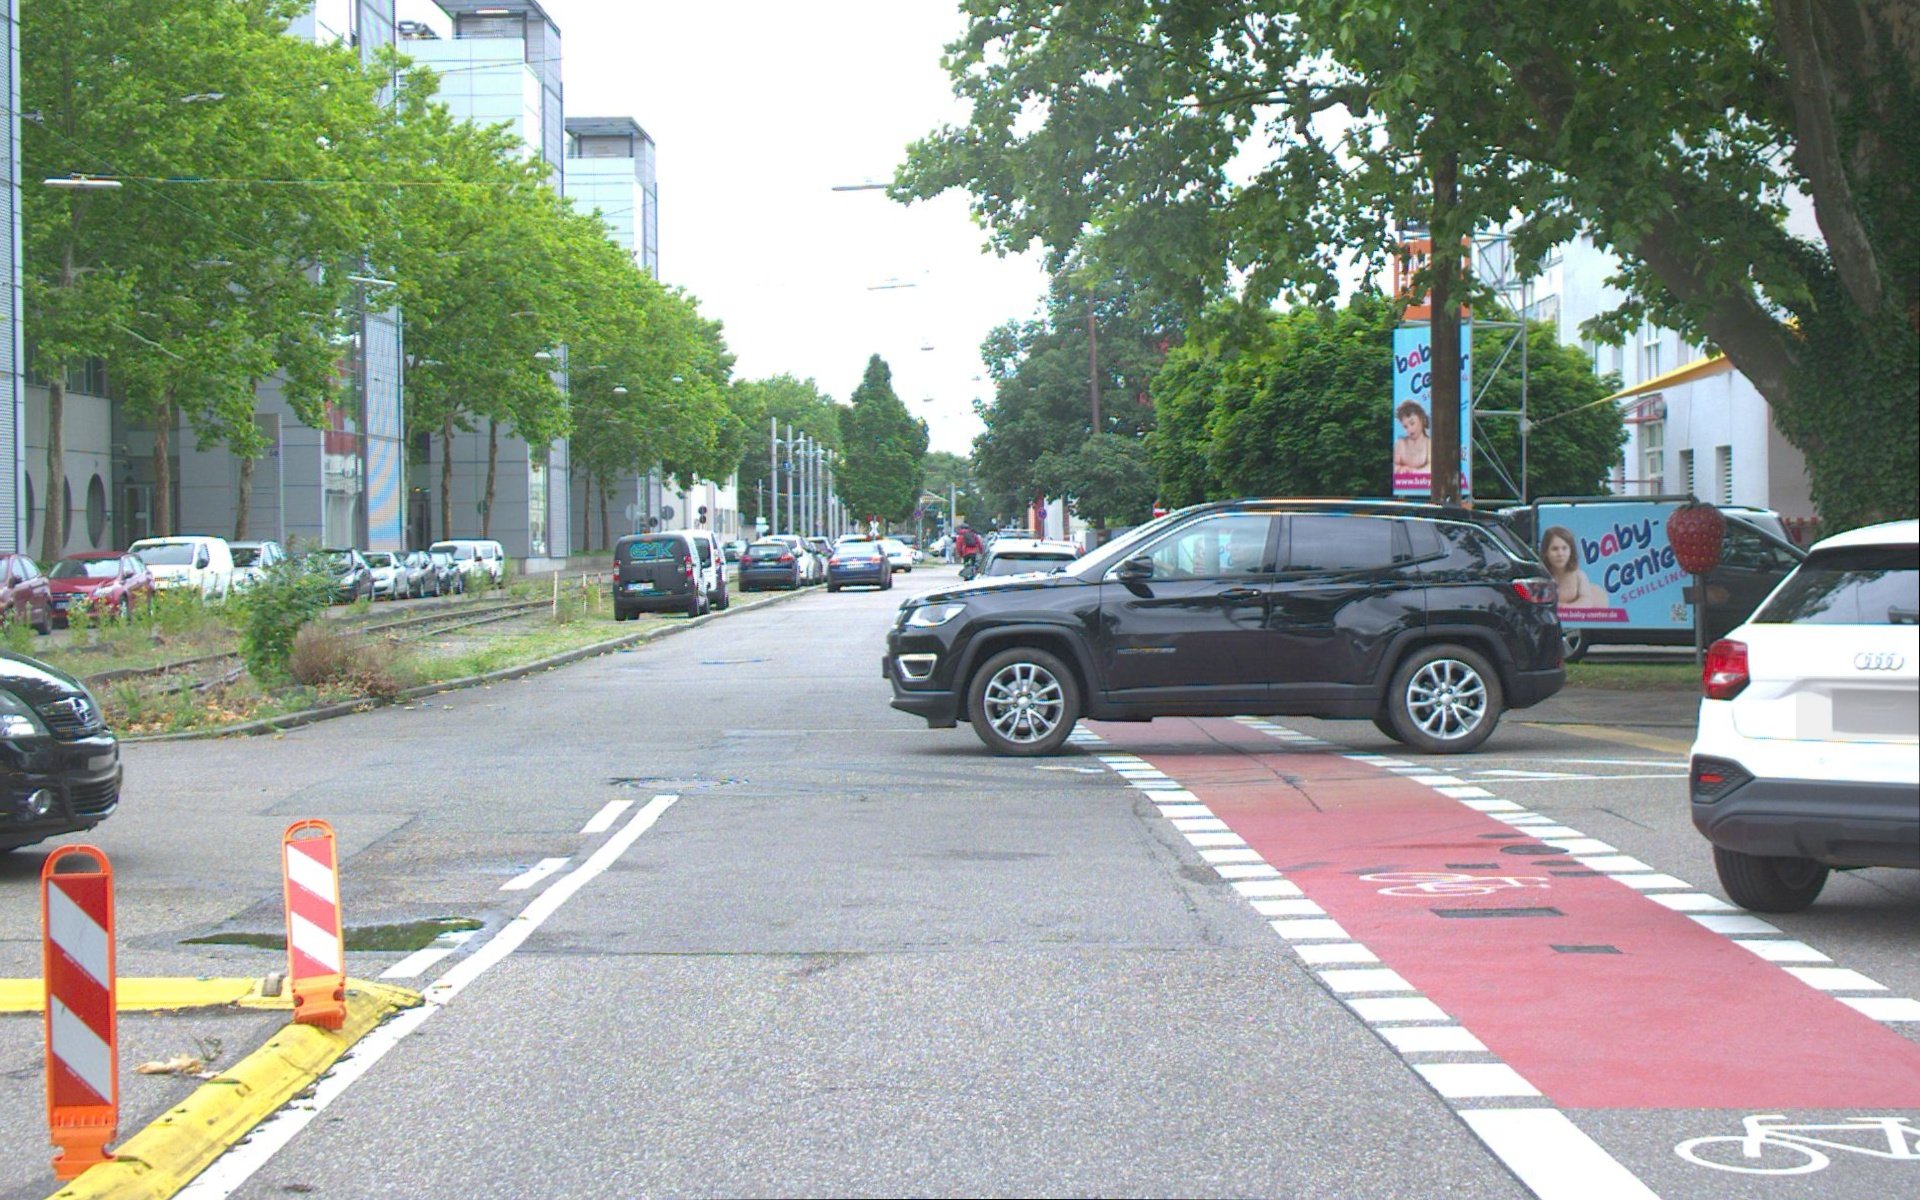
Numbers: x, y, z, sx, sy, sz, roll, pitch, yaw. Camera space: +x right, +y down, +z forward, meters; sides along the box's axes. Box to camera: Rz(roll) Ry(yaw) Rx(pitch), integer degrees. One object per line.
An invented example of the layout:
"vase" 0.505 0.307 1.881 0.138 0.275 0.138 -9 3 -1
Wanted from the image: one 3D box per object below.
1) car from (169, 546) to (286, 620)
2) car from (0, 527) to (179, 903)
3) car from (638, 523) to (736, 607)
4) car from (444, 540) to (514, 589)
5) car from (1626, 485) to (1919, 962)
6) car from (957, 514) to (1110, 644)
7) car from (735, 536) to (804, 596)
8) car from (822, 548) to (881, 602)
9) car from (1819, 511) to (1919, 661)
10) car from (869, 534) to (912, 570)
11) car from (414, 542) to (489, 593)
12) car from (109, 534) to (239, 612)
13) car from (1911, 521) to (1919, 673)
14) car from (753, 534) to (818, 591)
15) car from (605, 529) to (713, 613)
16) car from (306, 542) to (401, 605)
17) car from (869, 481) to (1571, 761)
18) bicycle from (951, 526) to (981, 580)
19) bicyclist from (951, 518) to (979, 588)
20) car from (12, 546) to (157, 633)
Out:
"car" -17.117 -0.420 80.522 1.877 1.627 4.206 -1 1 -1
"car" -5.606 0.429 15.156 3.883 1.550 1.825 1 1 0
"car" -5.988 -0.786 75.757 1.877 1.757 4.000 -1 1 -1
"car" -16.757 -1.256 119.997 1.877 1.627 4.206 -1 1 -1
"car" 4.351 0.368 13.358 1.828 1.594 3.767 2 4 41
"car" 0.945 -0.307 46.200 1.877 1.627 4.000 -1 1 -1
"car" -5.748 -1.048 104.160 1.877 1.757 4.000 -1 1 -1
"car" -3.226 -0.750 101.518 1.684 1.508 3.706 1 1 -2
"car" 11.475 -0.191 36.527 4.212 1.546 1.790 -1 1 -2
"car" -3.060 -2.133 151.172 1.795 1.508 3.706 1 1 -2
"car" -16.859 -1.085 114.137 1.877 1.627 4.206 -1 1 -1
"car" -17.081 -0.612 74.884 1.877 1.627 4.206 -1 1 -1
"car" 11.887 -0.057 34.377 4.212 1.546 1.790 -1 1 -2
"car" -5.532 -1.213 109.369 1.877 1.757 4.000 -1 1 -1
"car" -6.091 -0.612 69.943 1.877 1.627 4.000 -1 1 -1
"car" -16.536 -0.749 93.967 1.877 1.627 4.206 -1 1 -1
"car" 1.623 0.114 22.272 4.314 1.671 1.993 -1 1 1
"bicycle" 0.145 -1.239 90.083 0.670 1.389 2.167 1 1 -2
"bicyclist" 0.133 -1.242 90.264 0.670 1.809 0.760 1 1 -2
"car" -17.363 -0.225 68.332 1.877 1.627 4.000 -1 1 -1
